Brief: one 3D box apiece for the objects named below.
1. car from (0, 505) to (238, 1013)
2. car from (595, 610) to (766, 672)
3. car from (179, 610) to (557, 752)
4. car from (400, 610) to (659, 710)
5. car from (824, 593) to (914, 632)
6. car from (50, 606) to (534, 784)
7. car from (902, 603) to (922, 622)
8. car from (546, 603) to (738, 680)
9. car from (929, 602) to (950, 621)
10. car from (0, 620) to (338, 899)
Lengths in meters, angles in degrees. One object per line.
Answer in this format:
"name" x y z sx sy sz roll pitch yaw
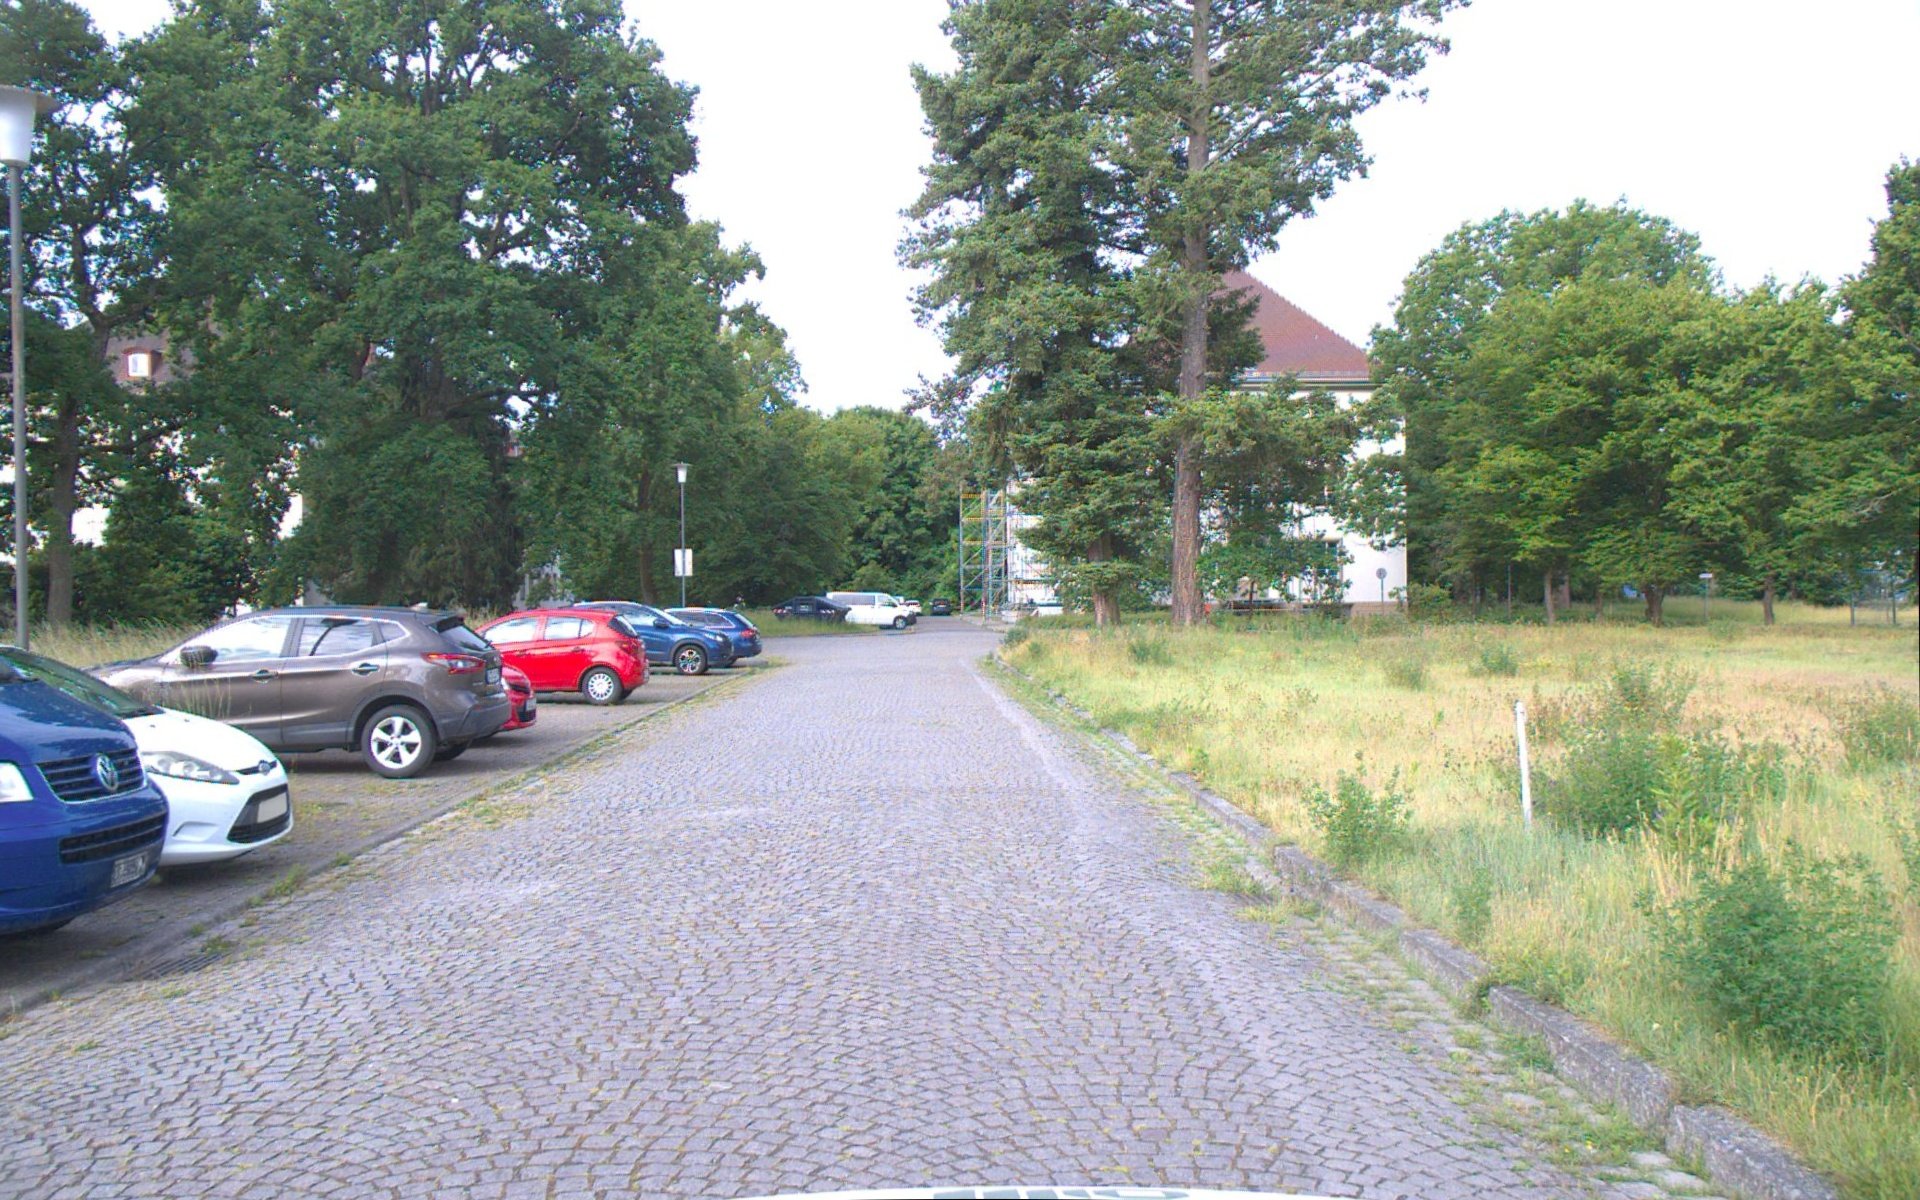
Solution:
"car" -6.025 0.642 7.476 4.615 2.015 2.037 0 0 -3
"car" -6.981 1.009 41.582 3.987 1.493 1.626 0 0 1
"car" -6.732 0.896 19.110 3.739 1.512 1.761 0 0 -2
"car" -6.852 0.934 26.635 3.739 1.516 1.786 0 0 -3
"car" -4.966 0.695 90.652 4.879 2.109 2.050 0 -2 -3
"car" -6.437 0.878 16.333 3.987 1.603 1.953 0 0 -3
"car" -4.526 1.183 156.731 1.754 1.665 4.058 -1 -2 -3
"car" -7.026 0.894 36.883 3.990 1.632 1.786 0 0 -4
"car" -1.967 1.101 157.150 1.754 1.750 4.058 -1 -2 -3
"car" -5.958 0.910 10.055 3.719 1.519 1.724 0 0 -5
